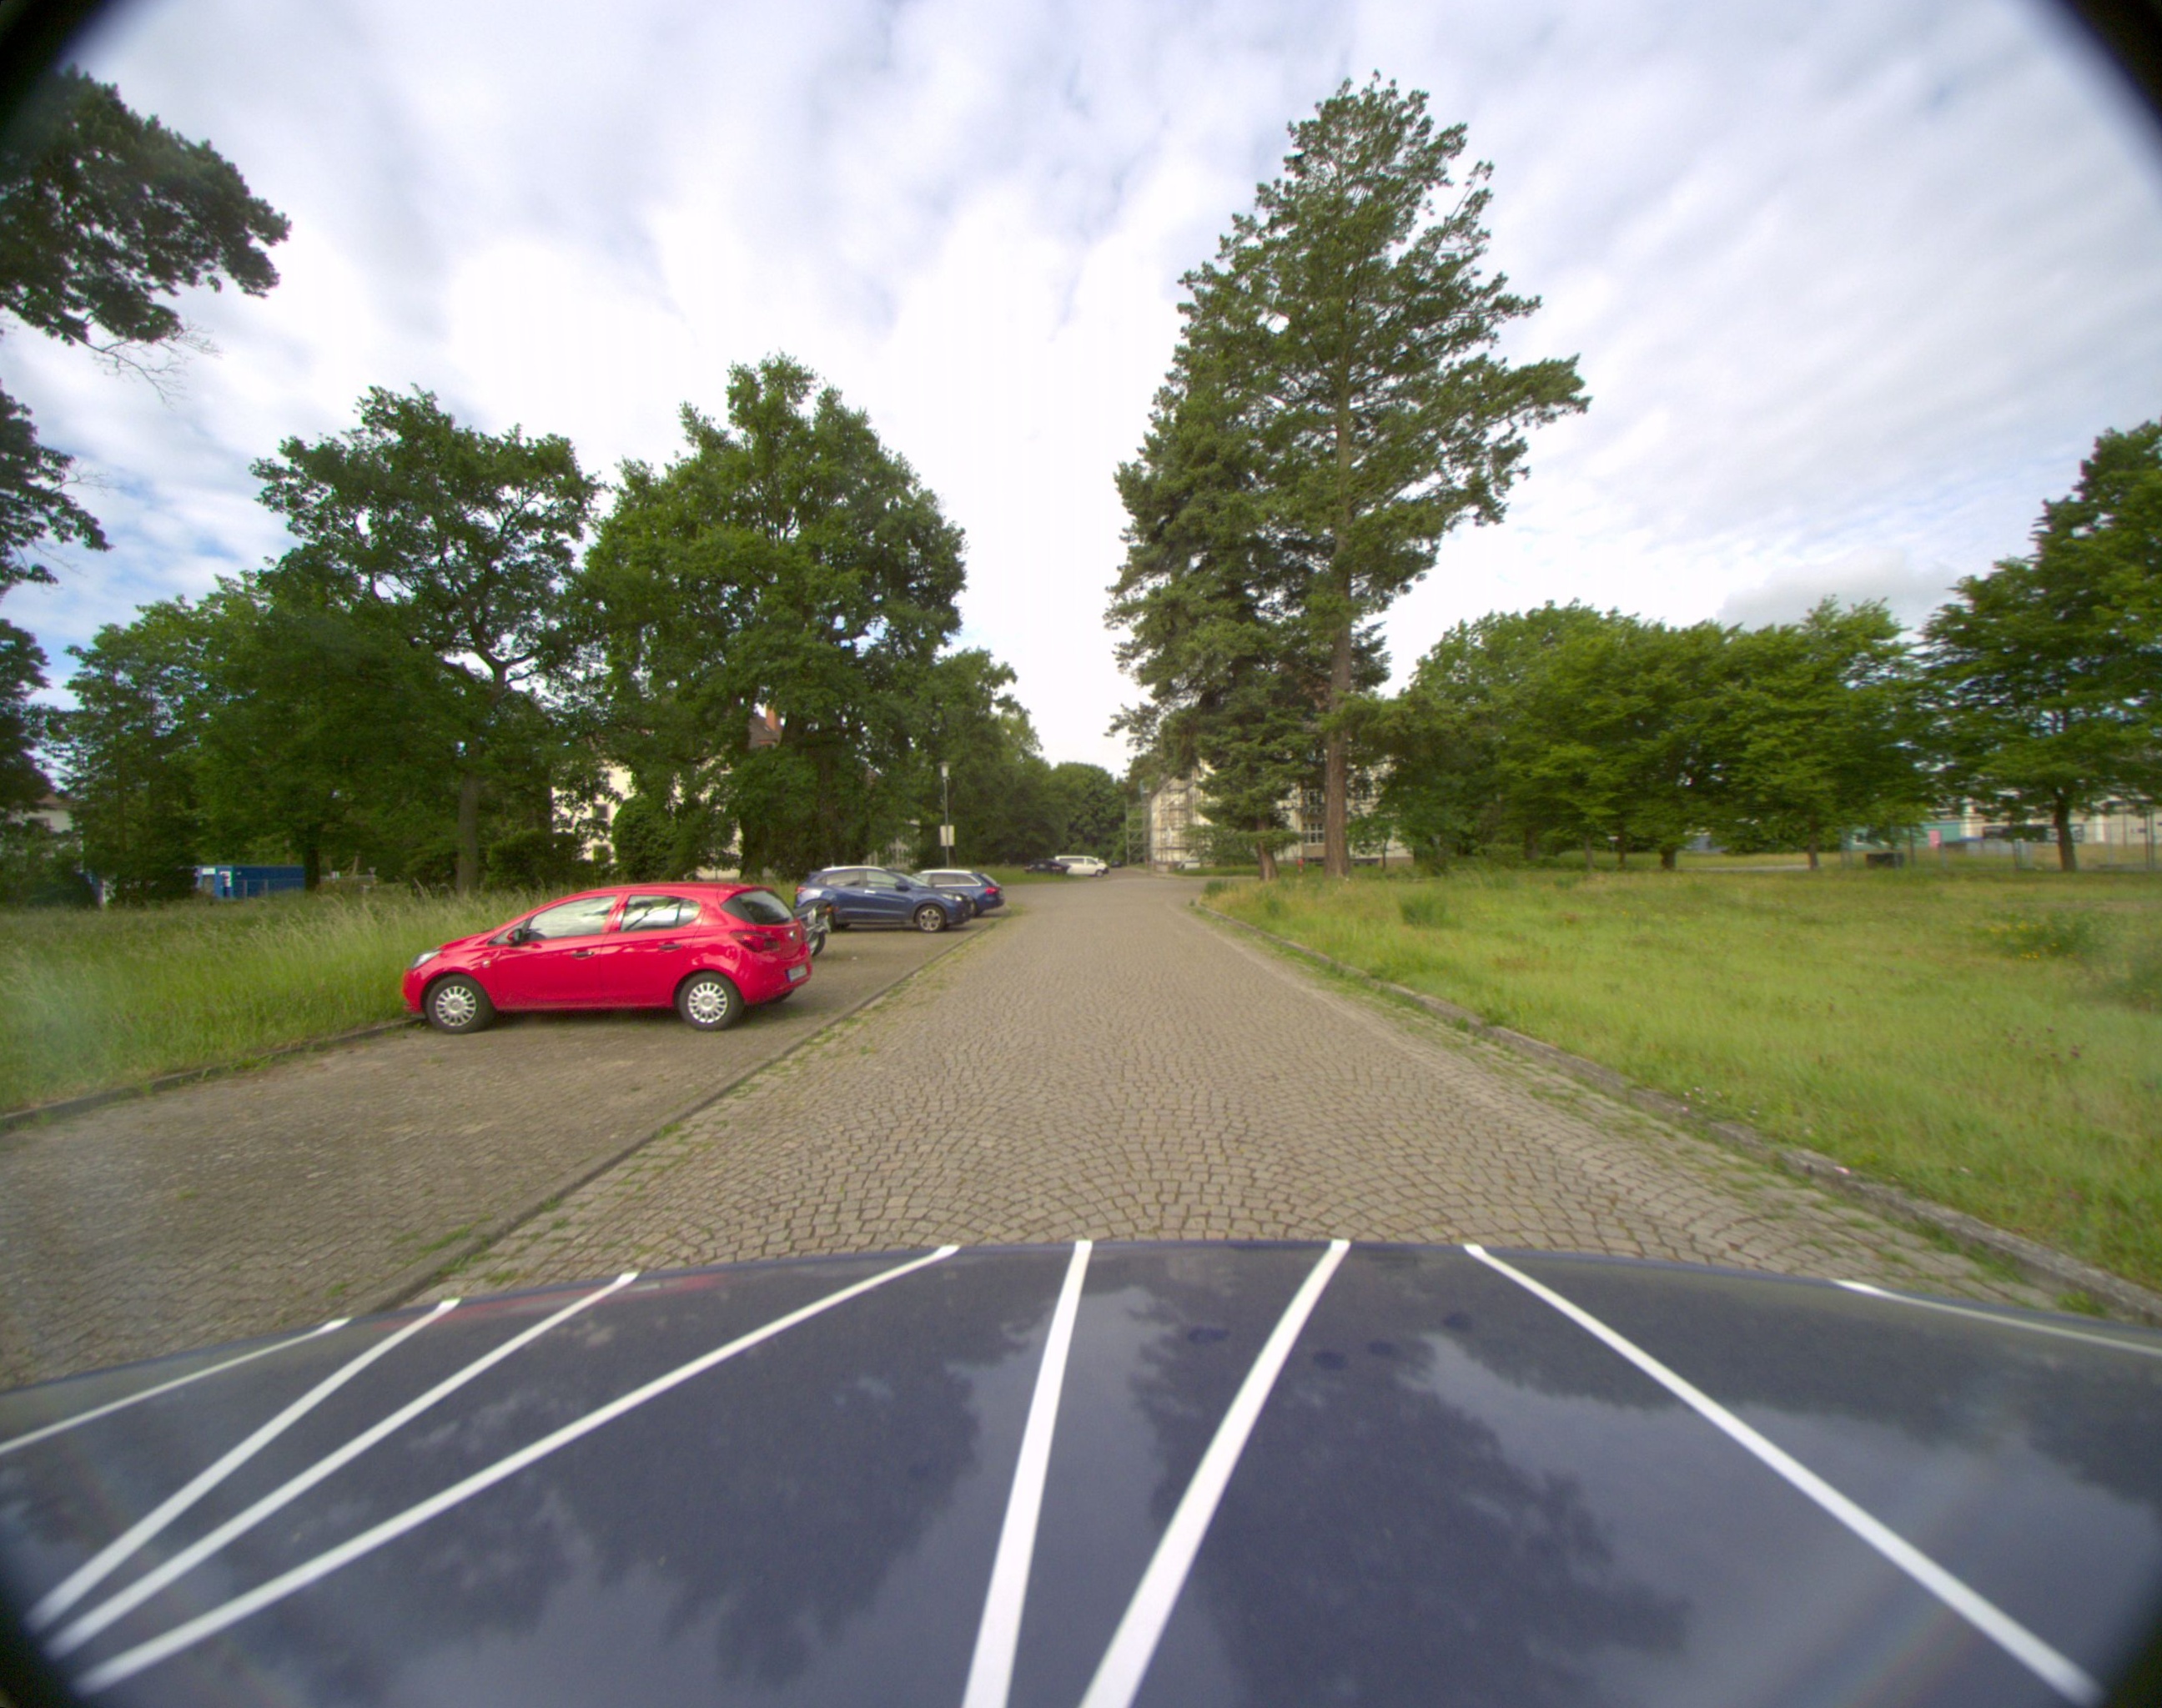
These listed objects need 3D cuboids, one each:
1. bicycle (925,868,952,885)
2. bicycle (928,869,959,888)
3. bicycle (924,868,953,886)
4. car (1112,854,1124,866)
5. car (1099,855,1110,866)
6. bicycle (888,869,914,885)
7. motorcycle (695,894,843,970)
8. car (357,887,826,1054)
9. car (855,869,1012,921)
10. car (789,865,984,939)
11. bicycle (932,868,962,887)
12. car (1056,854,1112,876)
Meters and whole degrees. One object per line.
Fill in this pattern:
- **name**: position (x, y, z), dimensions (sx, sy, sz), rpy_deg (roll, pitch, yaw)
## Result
- **bicycle**: position (-10.786, 1.717, 57.516), dimensions (1.940, 1.163, 0.537), rpy_deg (-4, 1, -15)
- **bicycle**: position (-9.389, 1.643, 51.799), dimensions (1.942, 1.163, 0.487), rpy_deg (-4, 1, -27)
- **bicycle**: position (-10.446, 1.699, 55.660), dimensions (1.941, 1.163, 0.487), rpy_deg (-4, 1, -21)
- **car**: position (6.781, 1.070, 138.410), dimensions (1.962, 2.002, 4.260), rpy_deg (-1, 0, 0)
- **car**: position (4.241, 1.151, 138.207), dimensions (1.962, 2.002, 4.260), rpy_deg (-1, 0, 0)
- **bicycle**: position (-13.450, 1.705, 56.784), dimensions (1.859, 1.163, 0.488), rpy_deg (0, 0, -9)
- **motorcycle**: position (-5.227, 1.305, 12.799), dimensions (2.236, 1.195, 0.568), rpy_deg (-1, 0, -1)
- **car**: position (-5.063, 1.175, 8.300), dimensions (3.933, 1.487, 1.785), rpy_deg (-1, 0, -1)
- **car**: position (-4.439, 1.237, 23.338), dimensions (4.367, 1.430, 1.927), rpy_deg (-1, 0, 3)
- **car**: position (-4.636, 1.125, 18.599), dimensions (4.256, 1.613, 1.886), rpy_deg (-1, 0, -1)
- **bicycle**: position (-9.266, 1.634, 52.474), dimensions (1.942, 1.163, 0.487), rpy_deg (-4, 1, -27)
- **car**: position (0.281, 1.033, 72.078), dimensions (5.149, 2.002, 2.000), rpy_deg (-1, 0, 1)
